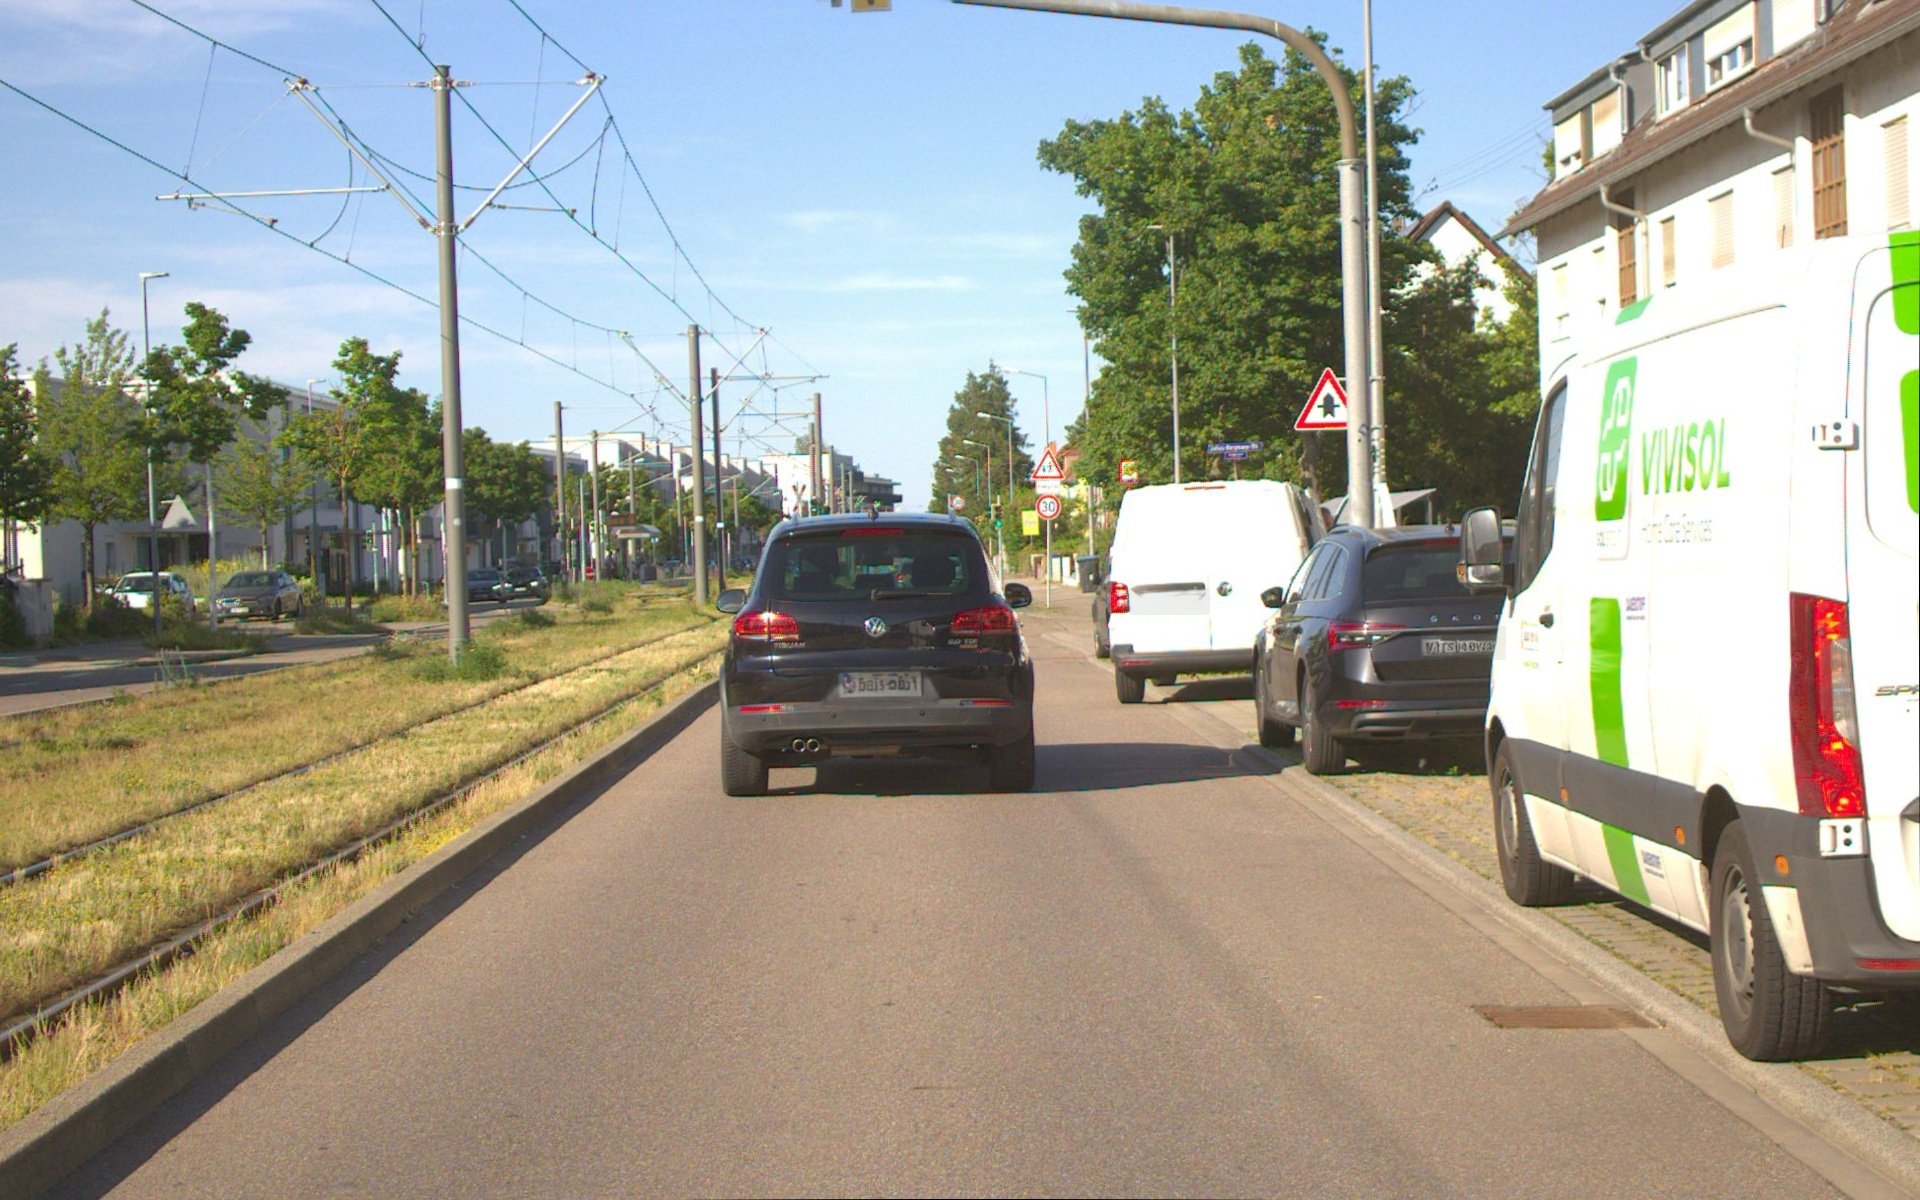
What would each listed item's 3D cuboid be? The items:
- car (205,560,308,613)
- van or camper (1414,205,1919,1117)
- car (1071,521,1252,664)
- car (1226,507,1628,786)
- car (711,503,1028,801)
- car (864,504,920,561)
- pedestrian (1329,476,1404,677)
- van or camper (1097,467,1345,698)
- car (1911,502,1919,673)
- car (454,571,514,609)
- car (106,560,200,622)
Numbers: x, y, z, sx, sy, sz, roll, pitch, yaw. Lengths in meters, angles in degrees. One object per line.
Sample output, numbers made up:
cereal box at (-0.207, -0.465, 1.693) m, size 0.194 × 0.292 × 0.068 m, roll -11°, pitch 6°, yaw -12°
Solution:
car at (-19.963, -0.397, 97.706) m, size 1.811 × 1.456 × 4.317 m, roll 0°, pitch 1°, yaw 4°
van or camper at (3.056, 0.077, 11.745) m, size 1.993 × 2.263 × 6.305 m, roll -3°, pitch 1°, yaw -1°
car at (2.524, -0.135, 44.037) m, size 1.791 × 1.623 × 4.861 m, roll -4°, pitch 1°, yaw -2°
car at (2.843, 0.235, 22.047) m, size 1.748 × 1.489 × 5.155 m, roll -3°, pitch 1°, yaw -1°
car at (-0.599, 0.269, 21.274) m, size 1.775 × 1.664 × 4.000 m, roll 0°, pitch 1°, yaw -3°
car at (-3.149, -3.119, 160.027) m, size 2.394 × 2.556 × 5.530 m, roll -1°, pitch 1°, yaw 0°
pedestrian at (3.904, -0.223, 33.016) m, size 0.699 × 1.906 × 0.758 m, roll 0°, pitch 0°, yaw 8°
van or camper at (2.560, -0.211, 32.490) m, size 2.028 × 1.949 × 5.294 m, roll -2°, pitch 1°, yaw 7°
car at (10.681, -0.182, 29.035) m, size 4.711 × 1.472 × 1.907 m, roll -2°, pitch 0°, yaw -2°
car at (-19.017, -0.404, 137.494) m, size 1.688 × 1.384 × 4.388 m, roll -3°, pitch 1°, yaw 1°
car at (-19.804, -0.235, 84.447) m, size 1.544 × 1.486 × 3.775 m, roll 0°, pitch 1°, yaw -2°
